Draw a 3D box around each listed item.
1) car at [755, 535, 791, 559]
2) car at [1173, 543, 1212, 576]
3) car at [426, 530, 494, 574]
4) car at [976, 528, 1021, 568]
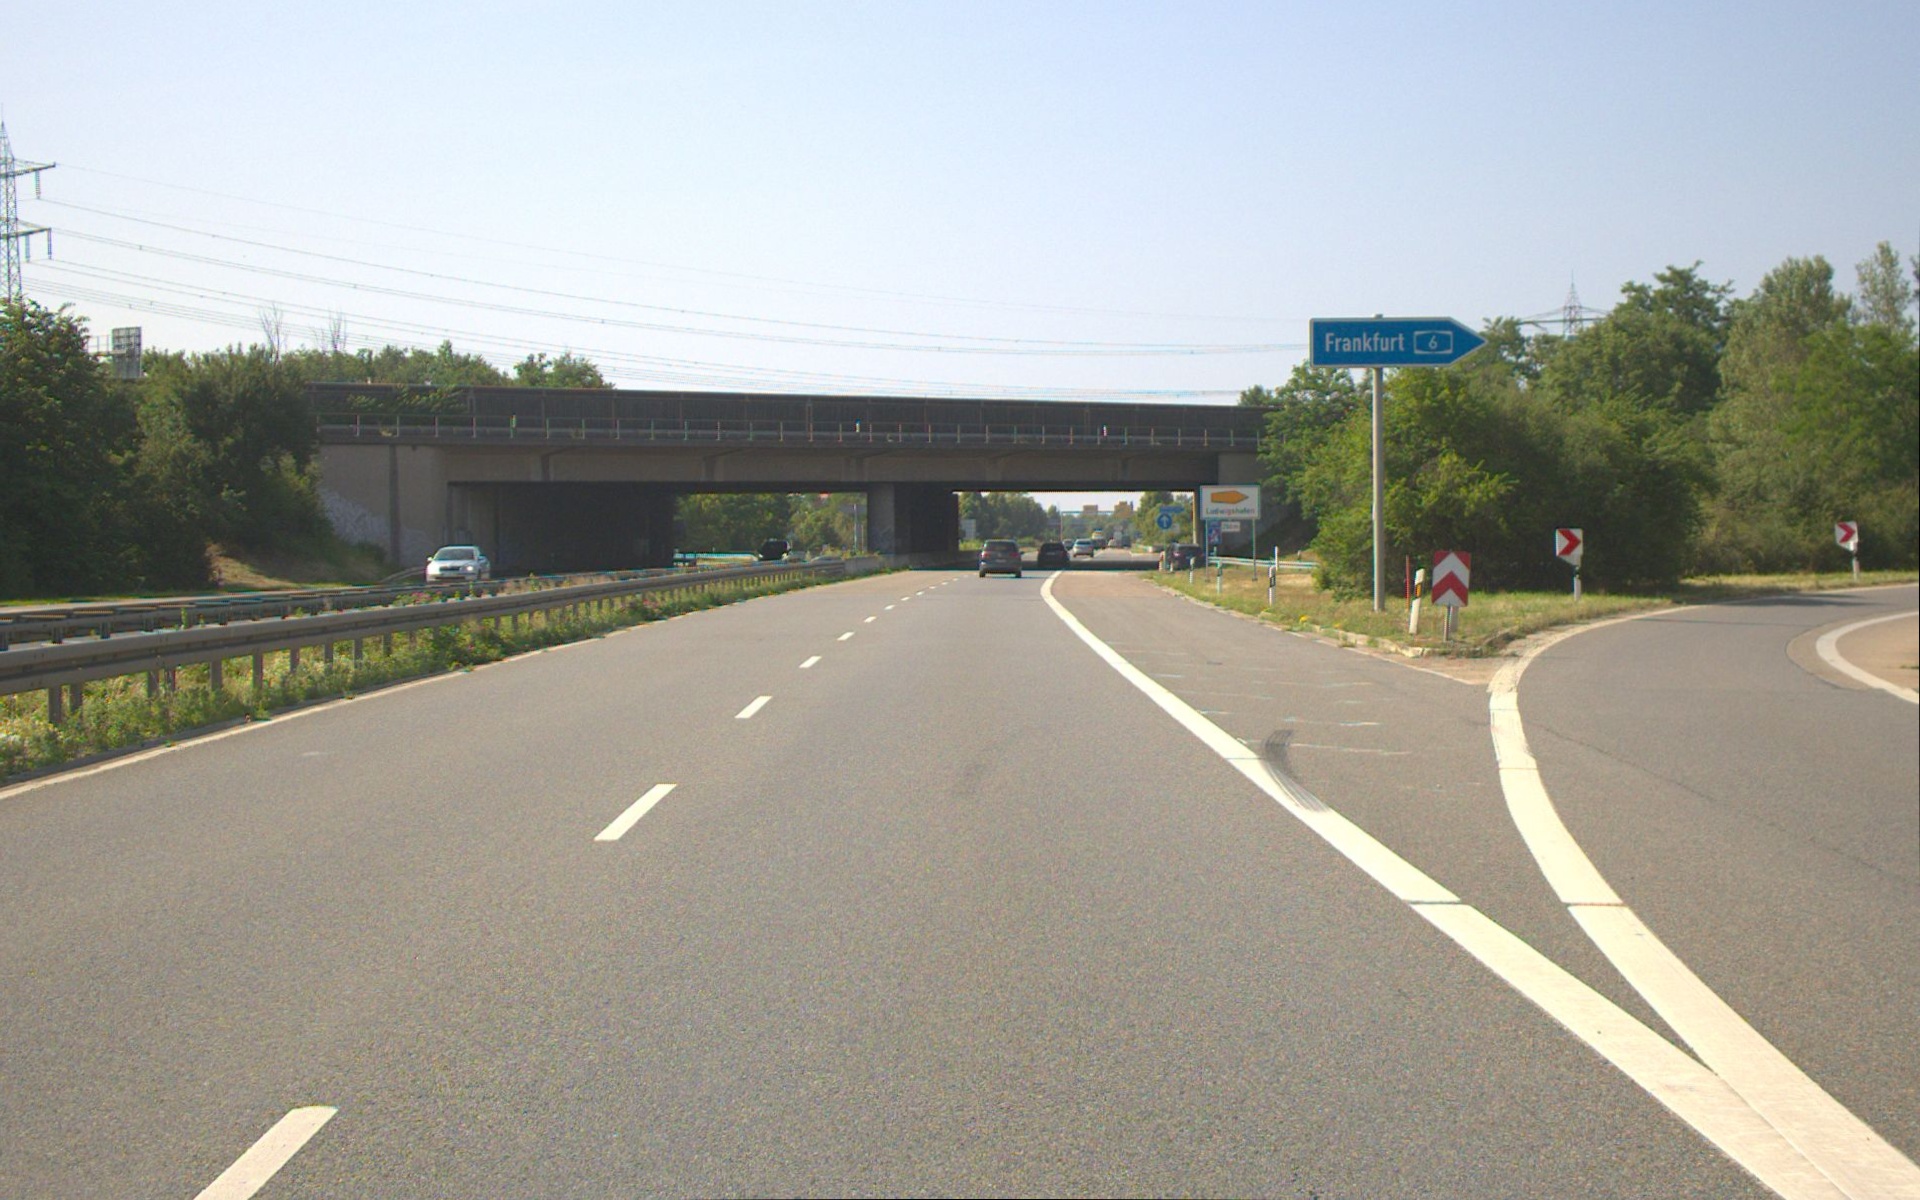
[{"bbox_3d":[-11.448,-3.270,210.286,1.962,1.405,3.636,-1,1,1],"label":"car"},{"bbox_3d":[11.948,-2.074,176.826,1.850,1.639,4.000,1,1,1],"label":"car"},{"bbox_3d":[-16.844,-1.625,115.914,1.674,1.405,3.763,2,1,0],"label":"car"},{"bbox_3d":[1.679,-2.218,147.127,1.850,1.639,4.000,1,1,1],"label":"car"}]
